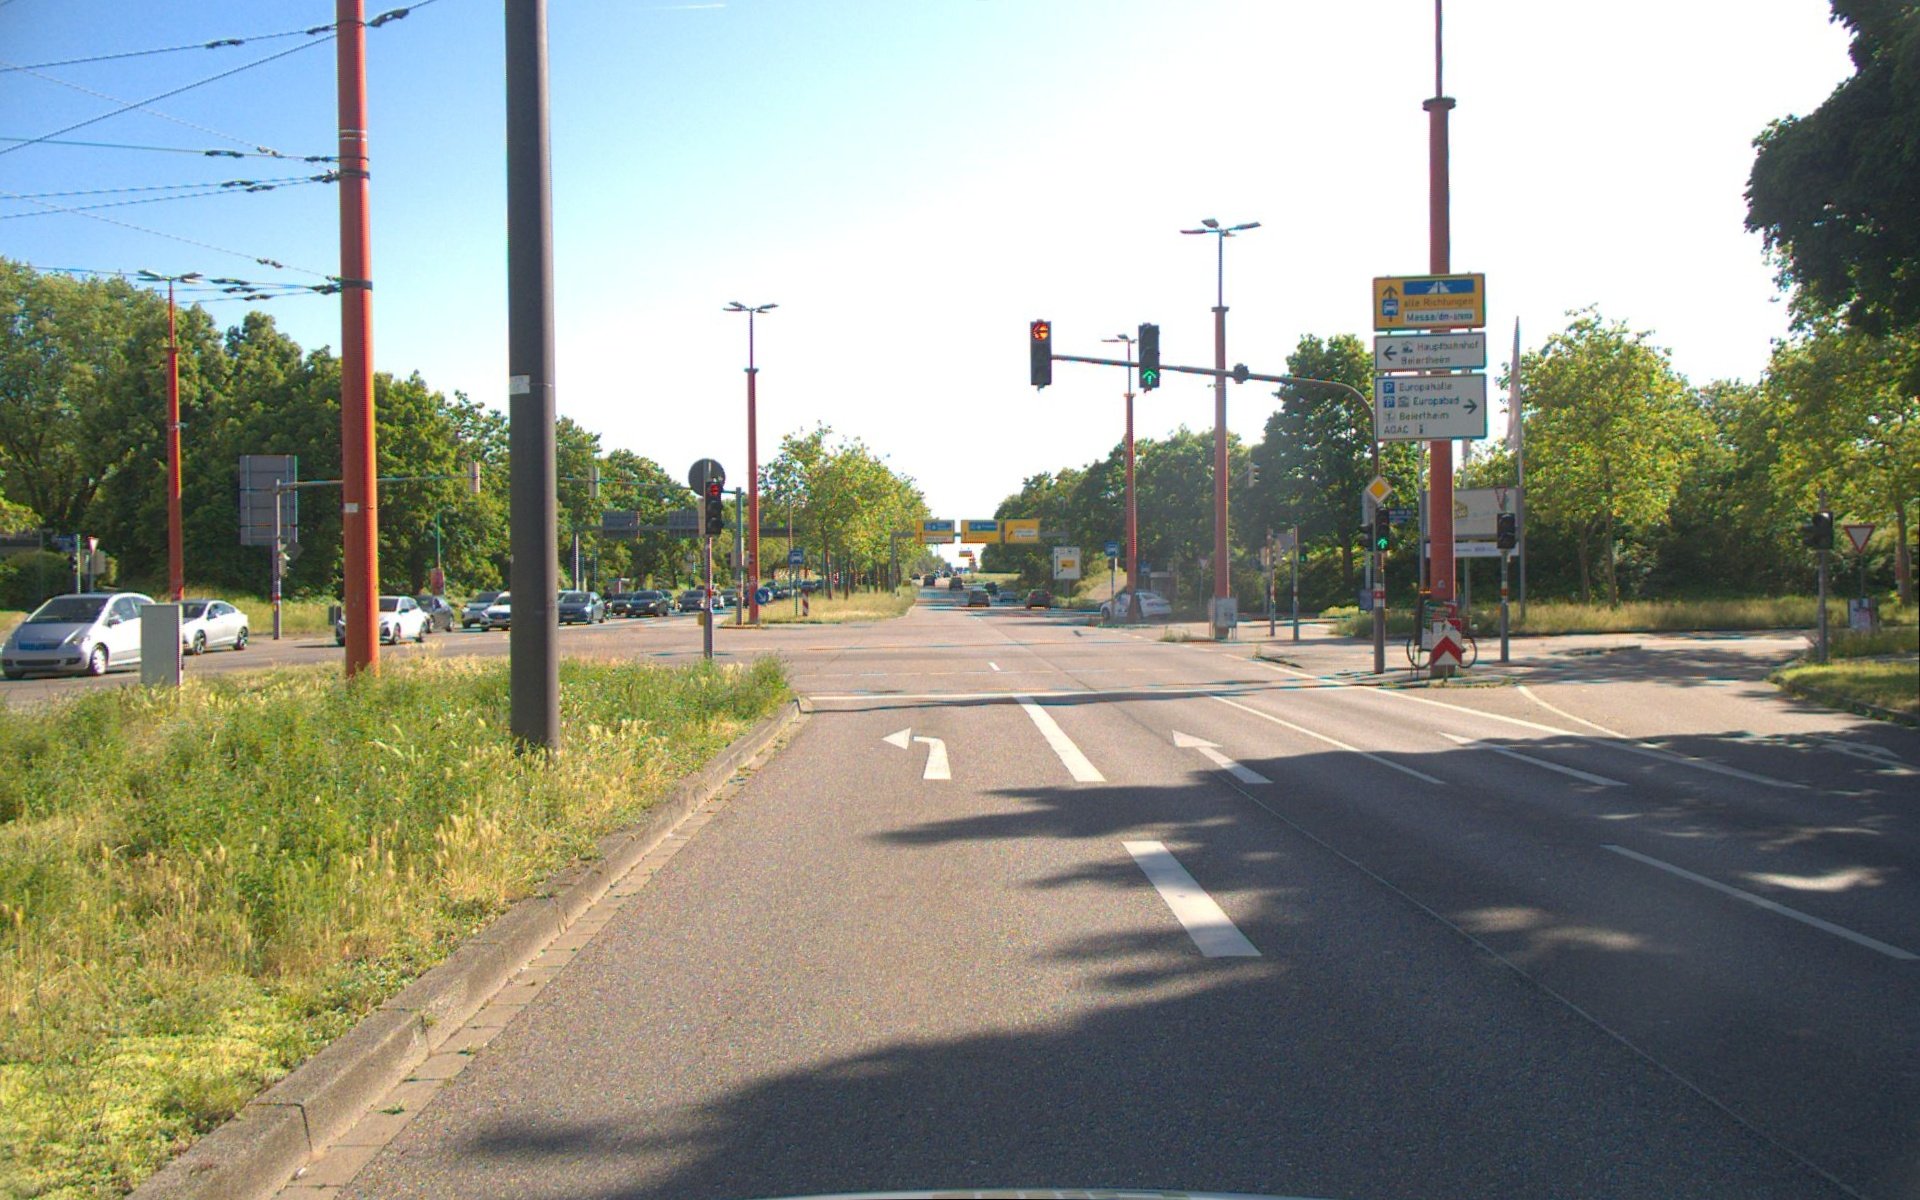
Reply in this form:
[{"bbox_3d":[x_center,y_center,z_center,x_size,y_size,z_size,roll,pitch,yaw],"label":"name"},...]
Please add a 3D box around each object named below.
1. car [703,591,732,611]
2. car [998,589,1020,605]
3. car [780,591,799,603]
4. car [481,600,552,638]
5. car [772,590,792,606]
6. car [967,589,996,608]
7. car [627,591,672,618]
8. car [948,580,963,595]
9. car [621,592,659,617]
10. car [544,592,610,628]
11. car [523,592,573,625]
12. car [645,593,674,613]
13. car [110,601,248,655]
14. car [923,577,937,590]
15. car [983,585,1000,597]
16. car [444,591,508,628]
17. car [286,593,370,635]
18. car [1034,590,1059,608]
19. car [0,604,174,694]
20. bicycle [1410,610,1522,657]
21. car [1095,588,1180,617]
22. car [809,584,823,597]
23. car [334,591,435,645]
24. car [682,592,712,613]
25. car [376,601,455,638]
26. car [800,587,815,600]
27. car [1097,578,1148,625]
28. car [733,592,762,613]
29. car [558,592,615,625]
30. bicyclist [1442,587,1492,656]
[{"bbox_3d":[-18.146,0.058,123.820,1.572,1.485,3.950,0,0,-1],"label":"car"},{"bbox_3d":[4.767,-0.308,161.696,1.953,1.567,3.999,1,0,-1],"label":"car"},{"bbox_3d":[-18.942,-0.374,183.690,1.964,1.330,3.997,0,0,-4],"label":"car"},{"bbox_3d":[-17.671,0.736,66.127,1.669,1.448,4.642,-1,0,-1],"label":"car"},{"bbox_3d":[-18.667,-0.197,173.175,1.669,1.586,3.803,1,0,0],"label":"car"},{"bbox_3d":[1.754,-0.156,135.148,1.955,1.523,3.995,0,0,-6],"label":"car"},{"bbox_3d":[-17.606,0.259,93.953,1.838,1.511,4.603,1,0,-3],"label":"car"},{"bbox_3d":[-0.628,-1.819,235.653,2.111,2.049,3.999,-1,0,-1],"label":"car"},{"bbox_3d":[-20.803,0.272,107.497,1.838,1.603,3.998,1,0,-3],"label":"car"},{"bbox_3d":[-17.734,0.439,76.806,1.952,1.622,4.464,-1,0,1],"label":"car"},{"bbox_3d":[-22.711,0.457,91.265,1.764,1.737,4.059,-1,0,-1],"label":"car"},{"bbox_3d":[-22.845,0.259,125.770,1.513,1.458,3.885,-2,0,-1],"label":"car"},{"bbox_3d":[-21.267,0.738,45.237,1.954,1.398,4.396,1,0,-5],"label":"car"},{"bbox_3d":[-4.706,-2.572,259.769,1.954,2.049,3.997,1,0,-3],"label":"car"},{"bbox_3d":[4.038,-1.160,213.262,1.953,1.567,3.999,-1,0,-1],"label":"car"},{"bbox_3d":[-22.096,0.428,75.639,1.838,1.603,3.998,1,0,-3],"label":"car"},{"bbox_3d":[-25.496,0.548,66.825,1.874,1.651,3.999,1,0,-1],"label":"car"},{"bbox_3d":[6.700,-0.080,127.776,1.702,1.365,3.081,0,0,-1],"label":"car"},{"bbox_3d":[-17.290,0.919,32.692,1.727,1.636,3.757,-1,0,0],"label":"car"},{"bbox_3d":[10.236,0.670,33.465,2.120,0.894,0.559,-1,0,-6],"label":"bicycle"},{"bbox_3d":[8.965,0.117,83.989,2.036,1.395,4.340,-1,0,-34],"label":"car"},{"bbox_3d":[-20.581,-1.331,236.958,1.623,1.778,4.000,1,0,0],"label":"car"},{"bbox_3d":[-17.478,0.514,50.404,1.556,1.498,4.183,-2,1,0],"label":"car"},{"bbox_3d":[-18.135,0.136,114.175,1.517,1.401,4.261,0,0,-2],"label":"car"},{"bbox_3d":[-21.157,0.750,64.411,1.824,1.365,4.029,-1,0,-2],"label":"car"},{"bbox_3d":[-19.947,-0.845,215.978,1.592,1.769,4.000,0,0,-1],"label":"car"},{"bbox_3d":[7.282,0.043,73.849,1.951,1.920,4.004,3,1,9],"label":"car"},{"bbox_3d":[-15.851,0.180,123.484,1.666,1.446,3.999,3,0,-1],"label":"car"},{"bbox_3d":[-19.087,0.446,84.693,1.800,1.629,4.438,-1,0,1],"label":"car"},{"bbox_3d":[10.249,0.431,33.467,0.726,1.365,0.706,0,0,-10],"label":"bicyclist"}]
